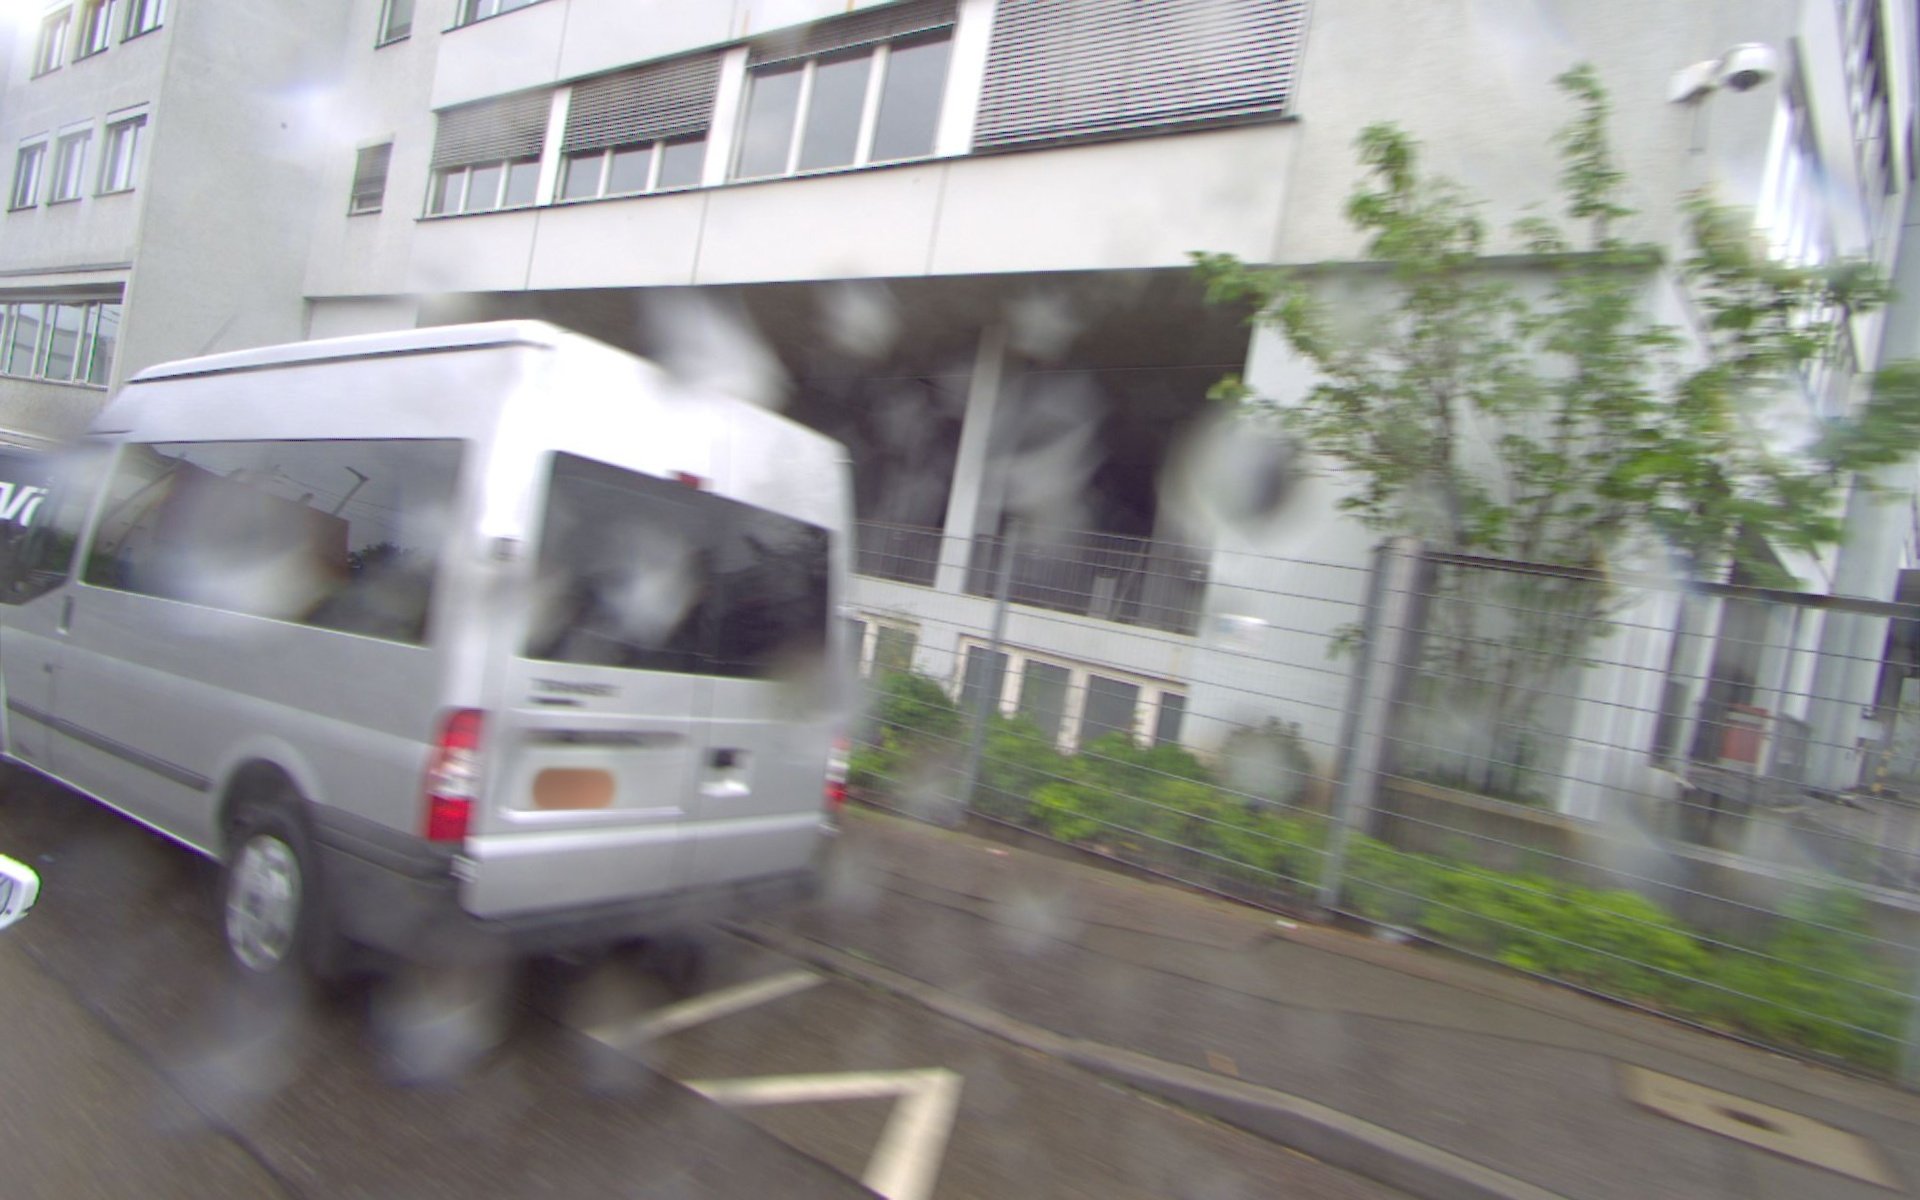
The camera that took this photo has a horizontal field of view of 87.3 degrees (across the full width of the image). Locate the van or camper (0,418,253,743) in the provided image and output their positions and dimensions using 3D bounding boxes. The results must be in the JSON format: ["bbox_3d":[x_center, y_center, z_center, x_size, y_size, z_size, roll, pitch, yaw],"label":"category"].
[{"bbox_3d":[-8.253,-0.350,8.339,5.117,2.139,1.996,7,0,33],"label":"van or camper"}]

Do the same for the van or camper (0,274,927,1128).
[{"bbox_3d":[-3.037,0.074,4.956,5.352,2.270,1.996,7,0,33],"label":"van or camper"}]
